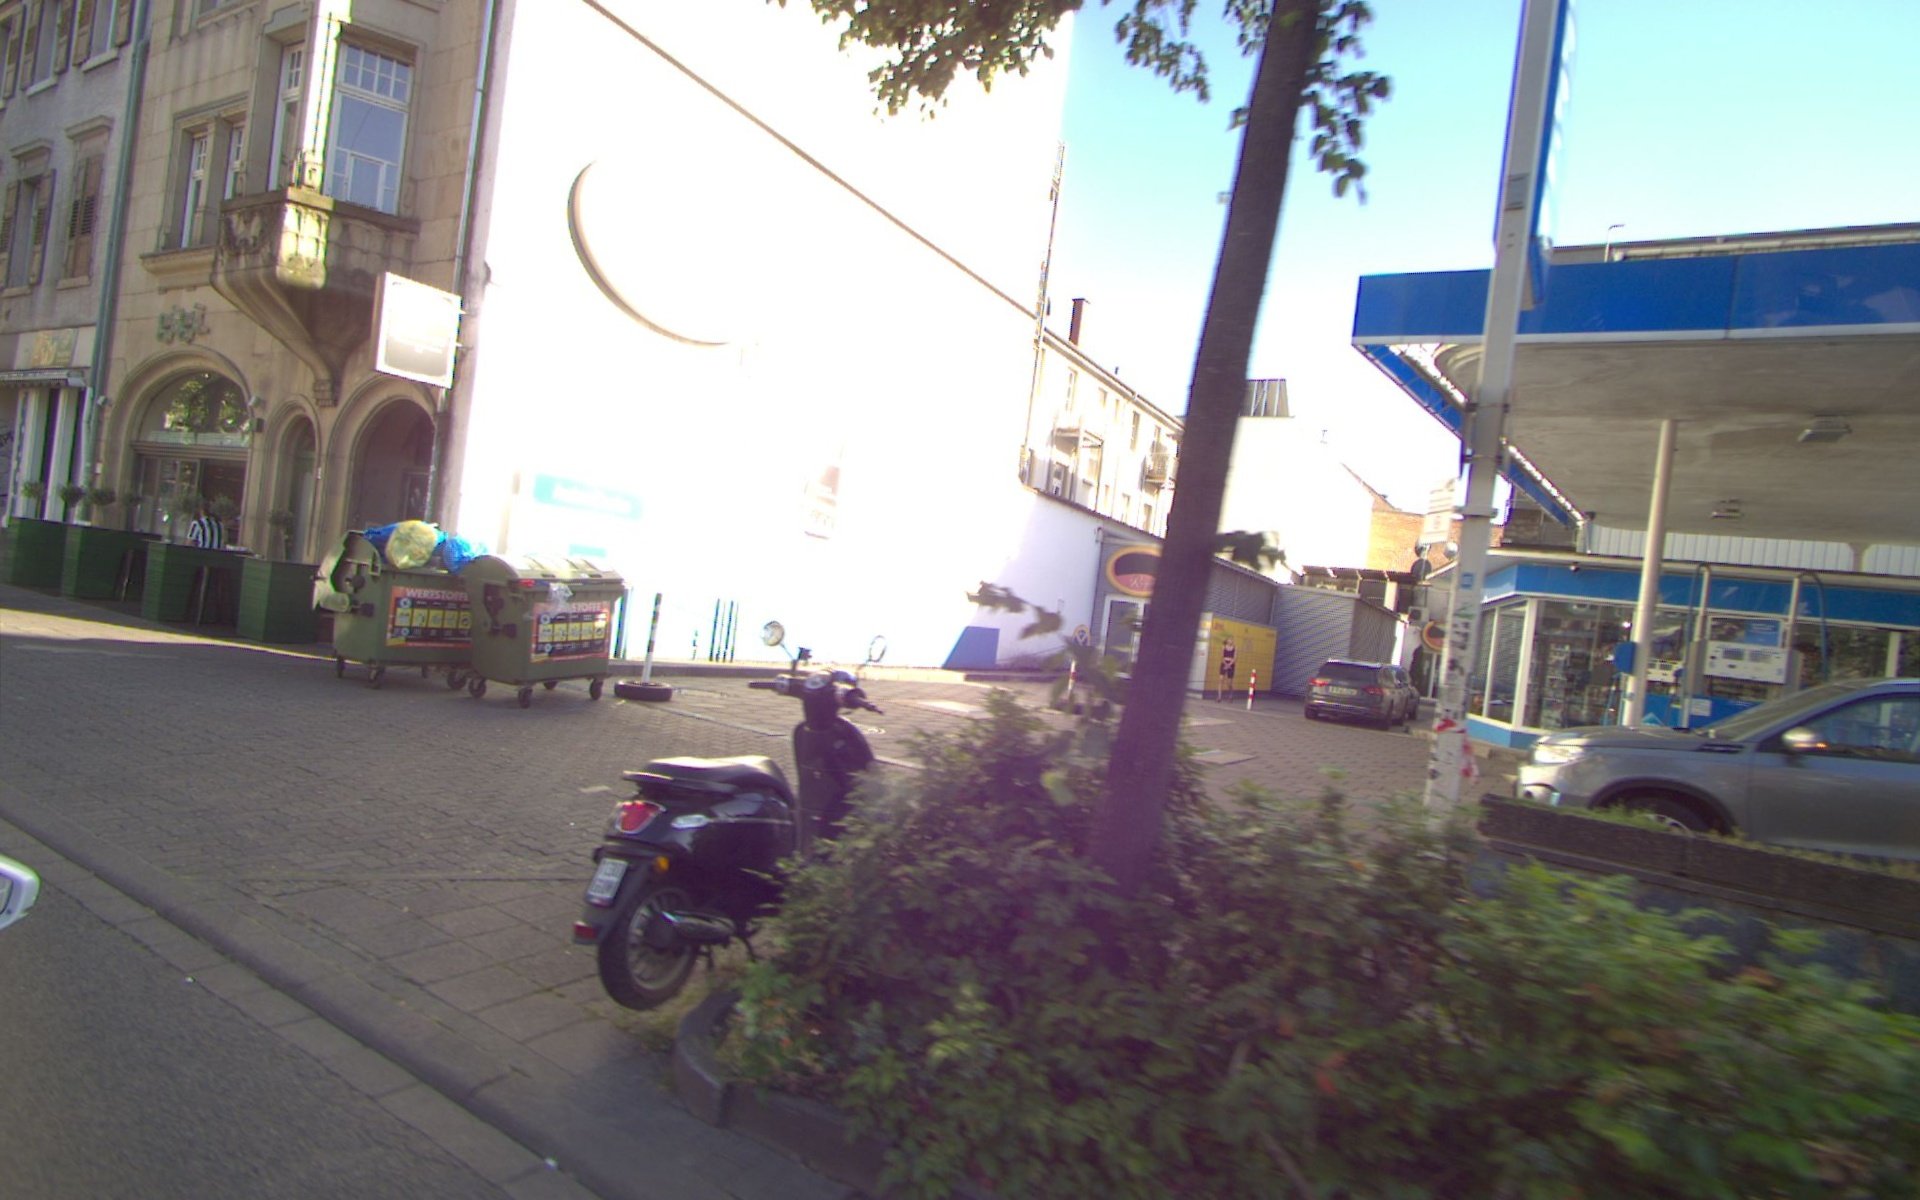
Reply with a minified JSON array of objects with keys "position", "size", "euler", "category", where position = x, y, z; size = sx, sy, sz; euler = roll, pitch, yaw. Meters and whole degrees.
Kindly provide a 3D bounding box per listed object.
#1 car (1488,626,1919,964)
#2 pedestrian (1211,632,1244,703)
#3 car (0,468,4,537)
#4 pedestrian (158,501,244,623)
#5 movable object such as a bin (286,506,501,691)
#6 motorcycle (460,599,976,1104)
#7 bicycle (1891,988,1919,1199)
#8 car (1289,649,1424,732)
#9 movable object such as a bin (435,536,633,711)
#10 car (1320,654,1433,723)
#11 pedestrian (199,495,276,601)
[{"position":[5.978,1.293,6.524],"size":[4.224,1.668,1.902],"euler":[7,0,33],"category":"car"},{"position":[6.603,1.661,24.826],"size":[0.536,1.657,0.547],"euler":[7,1,21],"category":"pedestrian"},{"position":[-12.926,-0.868,11.495],"size":[4.525,1.701,1.822],"euler":[7,2,32],"category":"car"},{"position":[-10.335,-0.512,13.702],"size":[0.687,1.560,0.611],"euler":[7,1,32],"category":"pedestrian"},{"position":[-5.774,-0.003,10.274],"size":[1.473,1.648,1.207],"euler":[7,1,30],"category":"movable object such as a bin"},{"position":[-0.755,0.773,3.956],"size":[0.895,1.346,1.984],"euler":[8,0,20],"category":"motorcycle"},{"position":[2.804,1.298,1.762],"size":[0.431,1.001,1.662],"euler":[6,0,-23],"category":"bicycle"},{"position":[9.164,2.044,23.046],"size":[1.968,1.482,3.990],"euler":[7,0,33],"category":"car"},{"position":[-4.282,0.243,10.162],"size":[1.157,1.549,1.272],"euler":[7,1,30],"category":"movable object such as a bin"},{"position":[11.285,2.368,27.117],"size":[1.968,1.482,3.990],"euler":[7,0,33],"category":"car"},{"position":[-11.593,-0.824,16.143],"size":[0.602,1.586,0.698],"euler":[7,1,31],"category":"pedestrian"}]
